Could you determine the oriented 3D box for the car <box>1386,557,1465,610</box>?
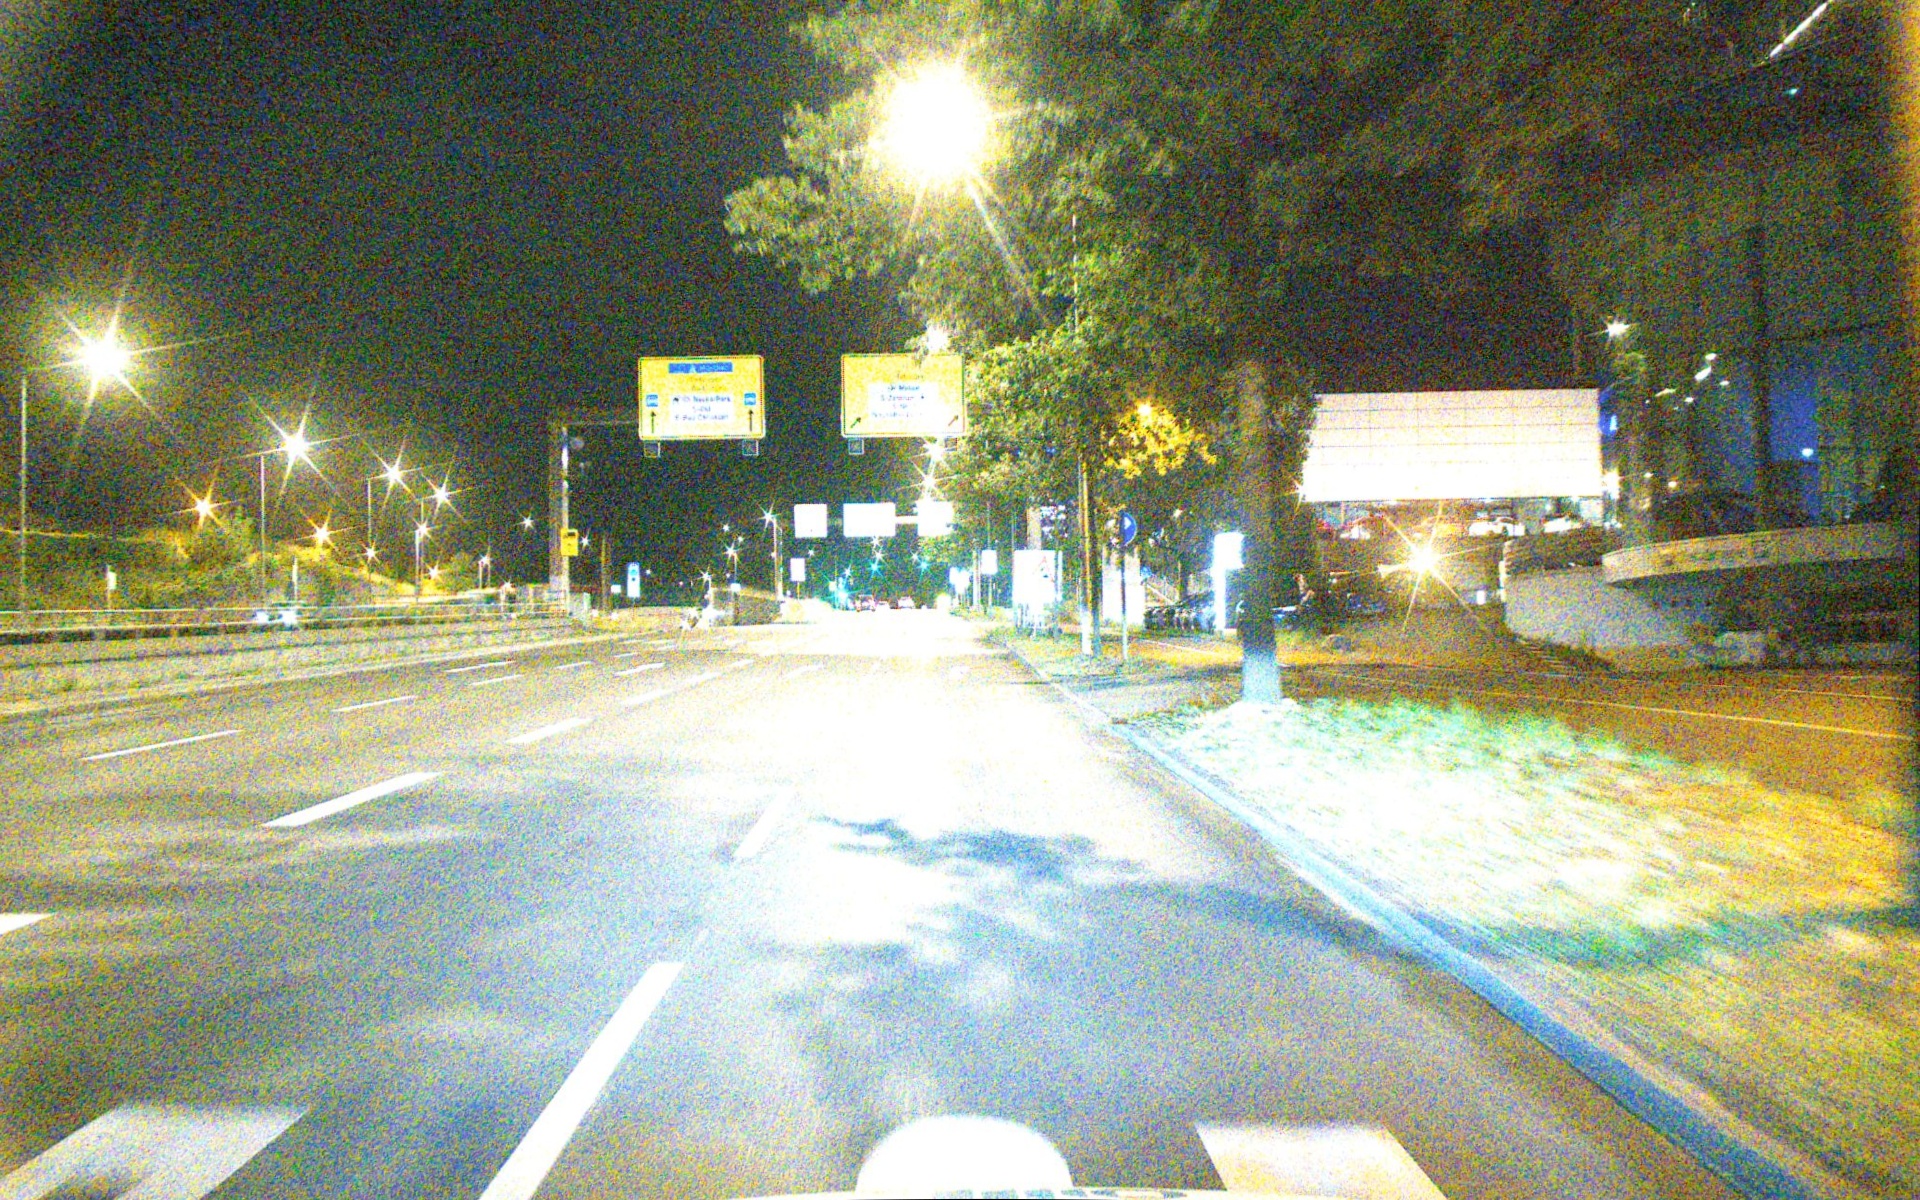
[{"bbox_3d":[14.980,-0.503,53.346,1.852,1.538,3.638,1,-2,6],"label":"car"}]

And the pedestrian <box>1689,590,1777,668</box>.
[{"bbox_3d":[10.711,0.402,22.915,0.897,1.057,0.767,-2,-1,42],"label":"pedestrian"}]

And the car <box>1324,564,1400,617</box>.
[{"bbox_3d":[12.612,-0.275,52.032,1.852,1.538,3.638,1,-2,6],"label":"car"}]

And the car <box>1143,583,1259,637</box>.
[{"bbox_3d":[8.858,0.386,60.958,3.909,1.889,1.820,1,-2,-5],"label":"car"}]

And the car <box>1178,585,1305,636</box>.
[{"bbox_3d":[8.625,0.346,50.905,3.553,1.477,1.706,1,-2,-5],"label":"car"}]

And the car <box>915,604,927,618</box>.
[{"bbox_3d":[-5.652,1.616,240.072,1.800,1.870,3.998,1,-2,-1],"label":"car"}]

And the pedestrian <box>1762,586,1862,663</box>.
[{"bbox_3d":[11.814,0.348,22.953,0.981,1.025,0.768,1,-2,-16],"label":"pedestrian"}]

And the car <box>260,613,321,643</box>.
[{"bbox_3d":[-34.383,1.458,85.048,1.592,1.507,3.678,1,-2,0],"label":"car"}]

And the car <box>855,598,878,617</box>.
[{"bbox_3d":[-9.129,0.785,162.101,1.927,1.741,4.000,1,-2,1],"label":"car"}]

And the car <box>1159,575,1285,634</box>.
[{"bbox_3d":[8.841,0.169,56.003,3.909,1.889,1.820,1,-2,-5],"label":"car"}]

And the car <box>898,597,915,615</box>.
[{"bbox_3d":[-6.542,0.734,202.904,1.953,2.049,3.998,1,-2,-1],"label":"car"}]

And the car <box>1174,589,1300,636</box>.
[{"bbox_3d":[8.959,0.426,53.637,3.749,1.435,1.709,1,-2,-4],"label":"car"}]

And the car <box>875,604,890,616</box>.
[{"bbox_3d":[-10.610,1.400,227.065,1.953,1.624,3.999,-1,-2,-1],"label":"car"}]

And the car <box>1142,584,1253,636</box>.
[{"bbox_3d":[9.020,0.416,63.023,3.909,1.889,1.820,1,-2,-5],"label":"car"}]

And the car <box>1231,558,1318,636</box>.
[{"bbox_3d":[8.632,-0.044,45.166,1.951,1.979,4.002,0,-2,16],"label":"car"}]

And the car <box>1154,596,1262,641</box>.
[{"bbox_3d":[8.705,0.665,58.165,3.441,1.535,1.734,1,-2,-5],"label":"car"}]

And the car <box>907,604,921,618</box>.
[{"bbox_3d":[-6.038,1.407,217.130,1.745,1.758,3.998,1,-2,-1],"label":"car"}]
